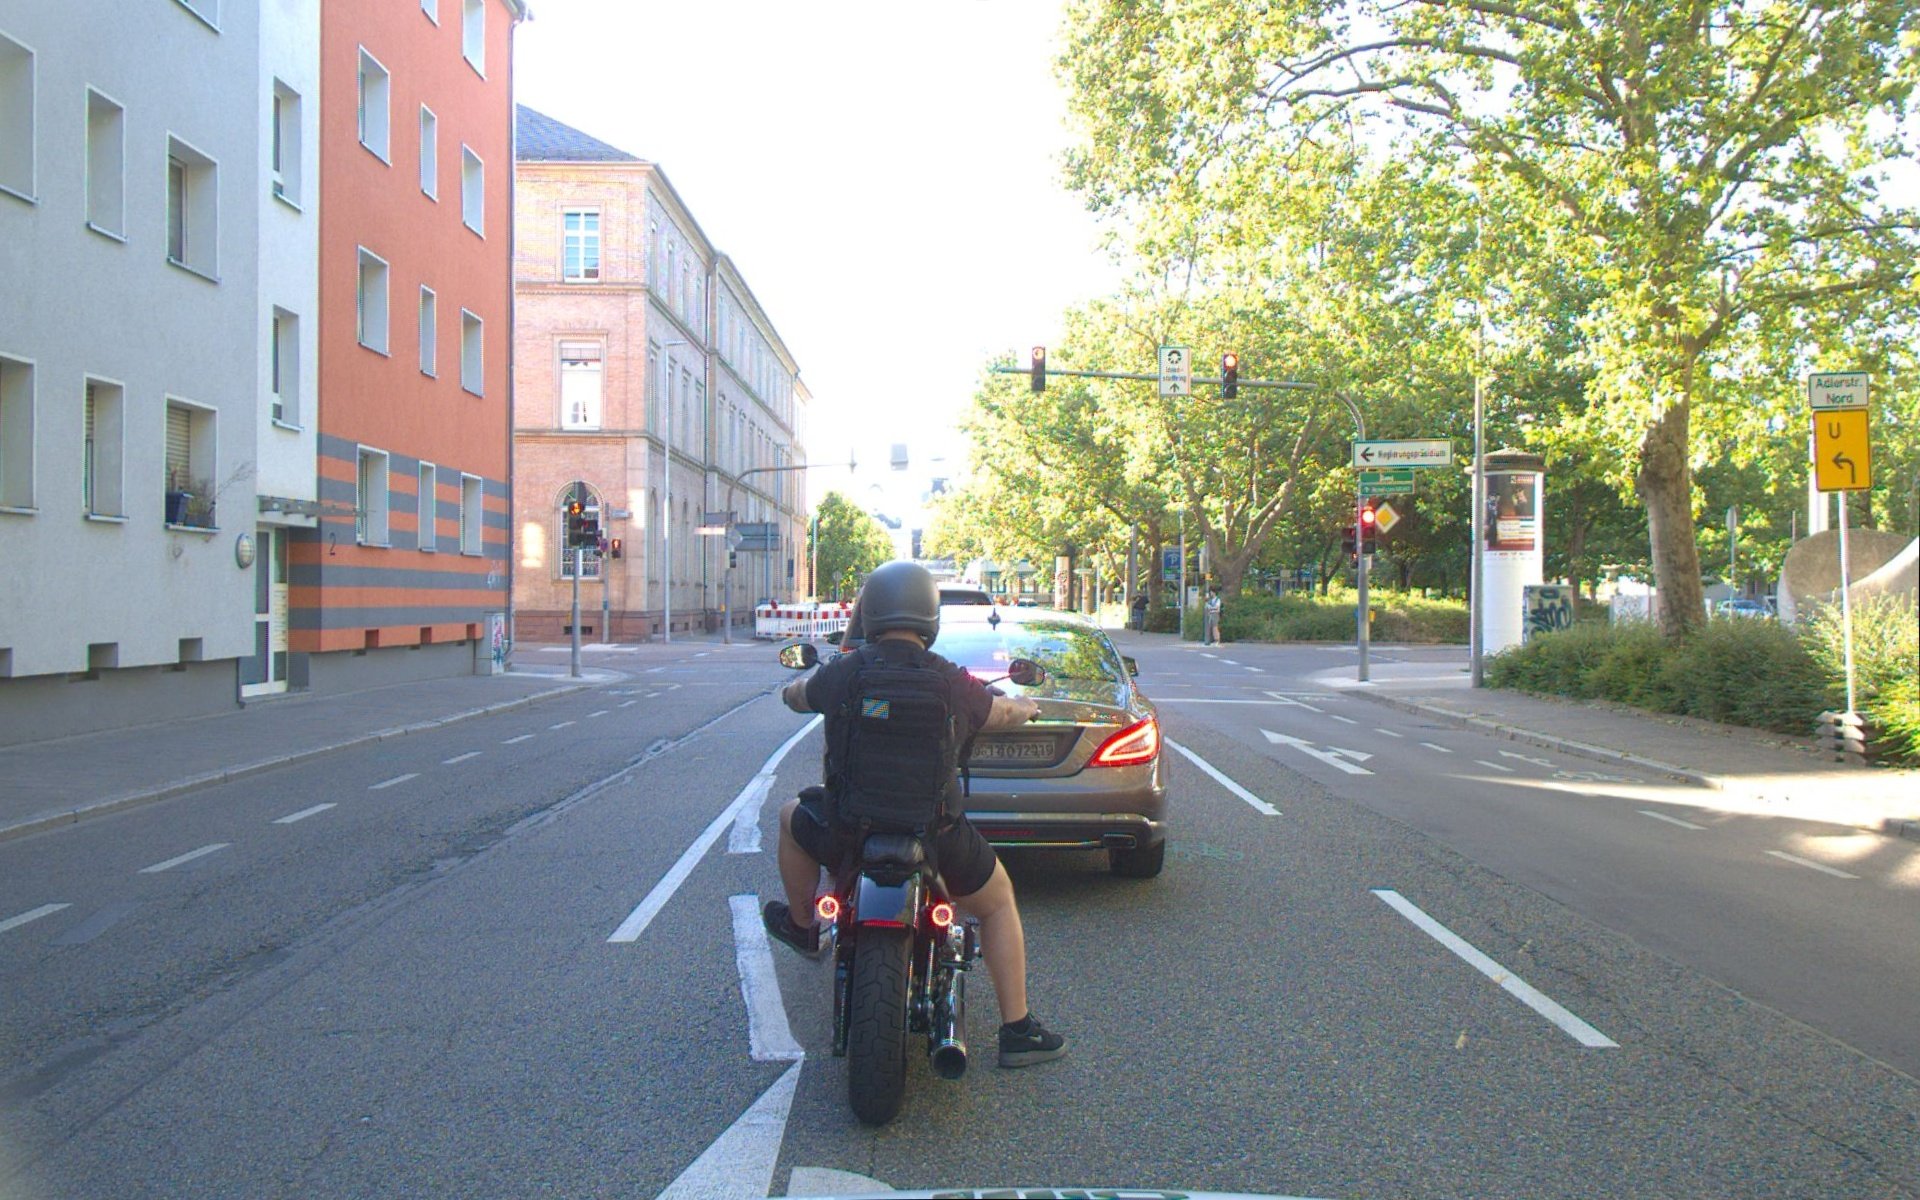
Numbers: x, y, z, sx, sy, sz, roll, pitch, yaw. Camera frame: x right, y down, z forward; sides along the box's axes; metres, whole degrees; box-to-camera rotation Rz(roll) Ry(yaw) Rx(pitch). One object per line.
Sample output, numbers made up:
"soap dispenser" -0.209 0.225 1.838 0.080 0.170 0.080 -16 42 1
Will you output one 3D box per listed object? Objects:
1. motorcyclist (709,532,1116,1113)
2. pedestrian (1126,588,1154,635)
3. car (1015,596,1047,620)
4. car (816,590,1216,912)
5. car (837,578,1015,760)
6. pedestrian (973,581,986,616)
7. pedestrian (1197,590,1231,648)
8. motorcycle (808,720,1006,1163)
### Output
"motorcyclist" -0.140 0.632 5.321 1.125 1.626 1.288 1 0 -1
"pedestrian" 7.539 0.466 69.346 0.741 1.943 0.917 1 -1 -29
"car" 4.321 0.460 101.100 1.740 1.453 3.801 0 0 -1
"car" 0.237 0.694 9.630 1.844 1.475 3.819 1 0 -1
"car" -0.329 0.606 16.738 1.588 1.622 3.999 0 0 -1
"pedestrian" 1.164 -0.093 100.876 0.748 2.087 0.712 1 -1 -1
"pedestrian" 8.250 0.614 53.757 0.980 1.858 1.077 1 0 5
"motorcycle" -0.154 0.970 5.353 0.503 1.020 2.013 1 0 -1
